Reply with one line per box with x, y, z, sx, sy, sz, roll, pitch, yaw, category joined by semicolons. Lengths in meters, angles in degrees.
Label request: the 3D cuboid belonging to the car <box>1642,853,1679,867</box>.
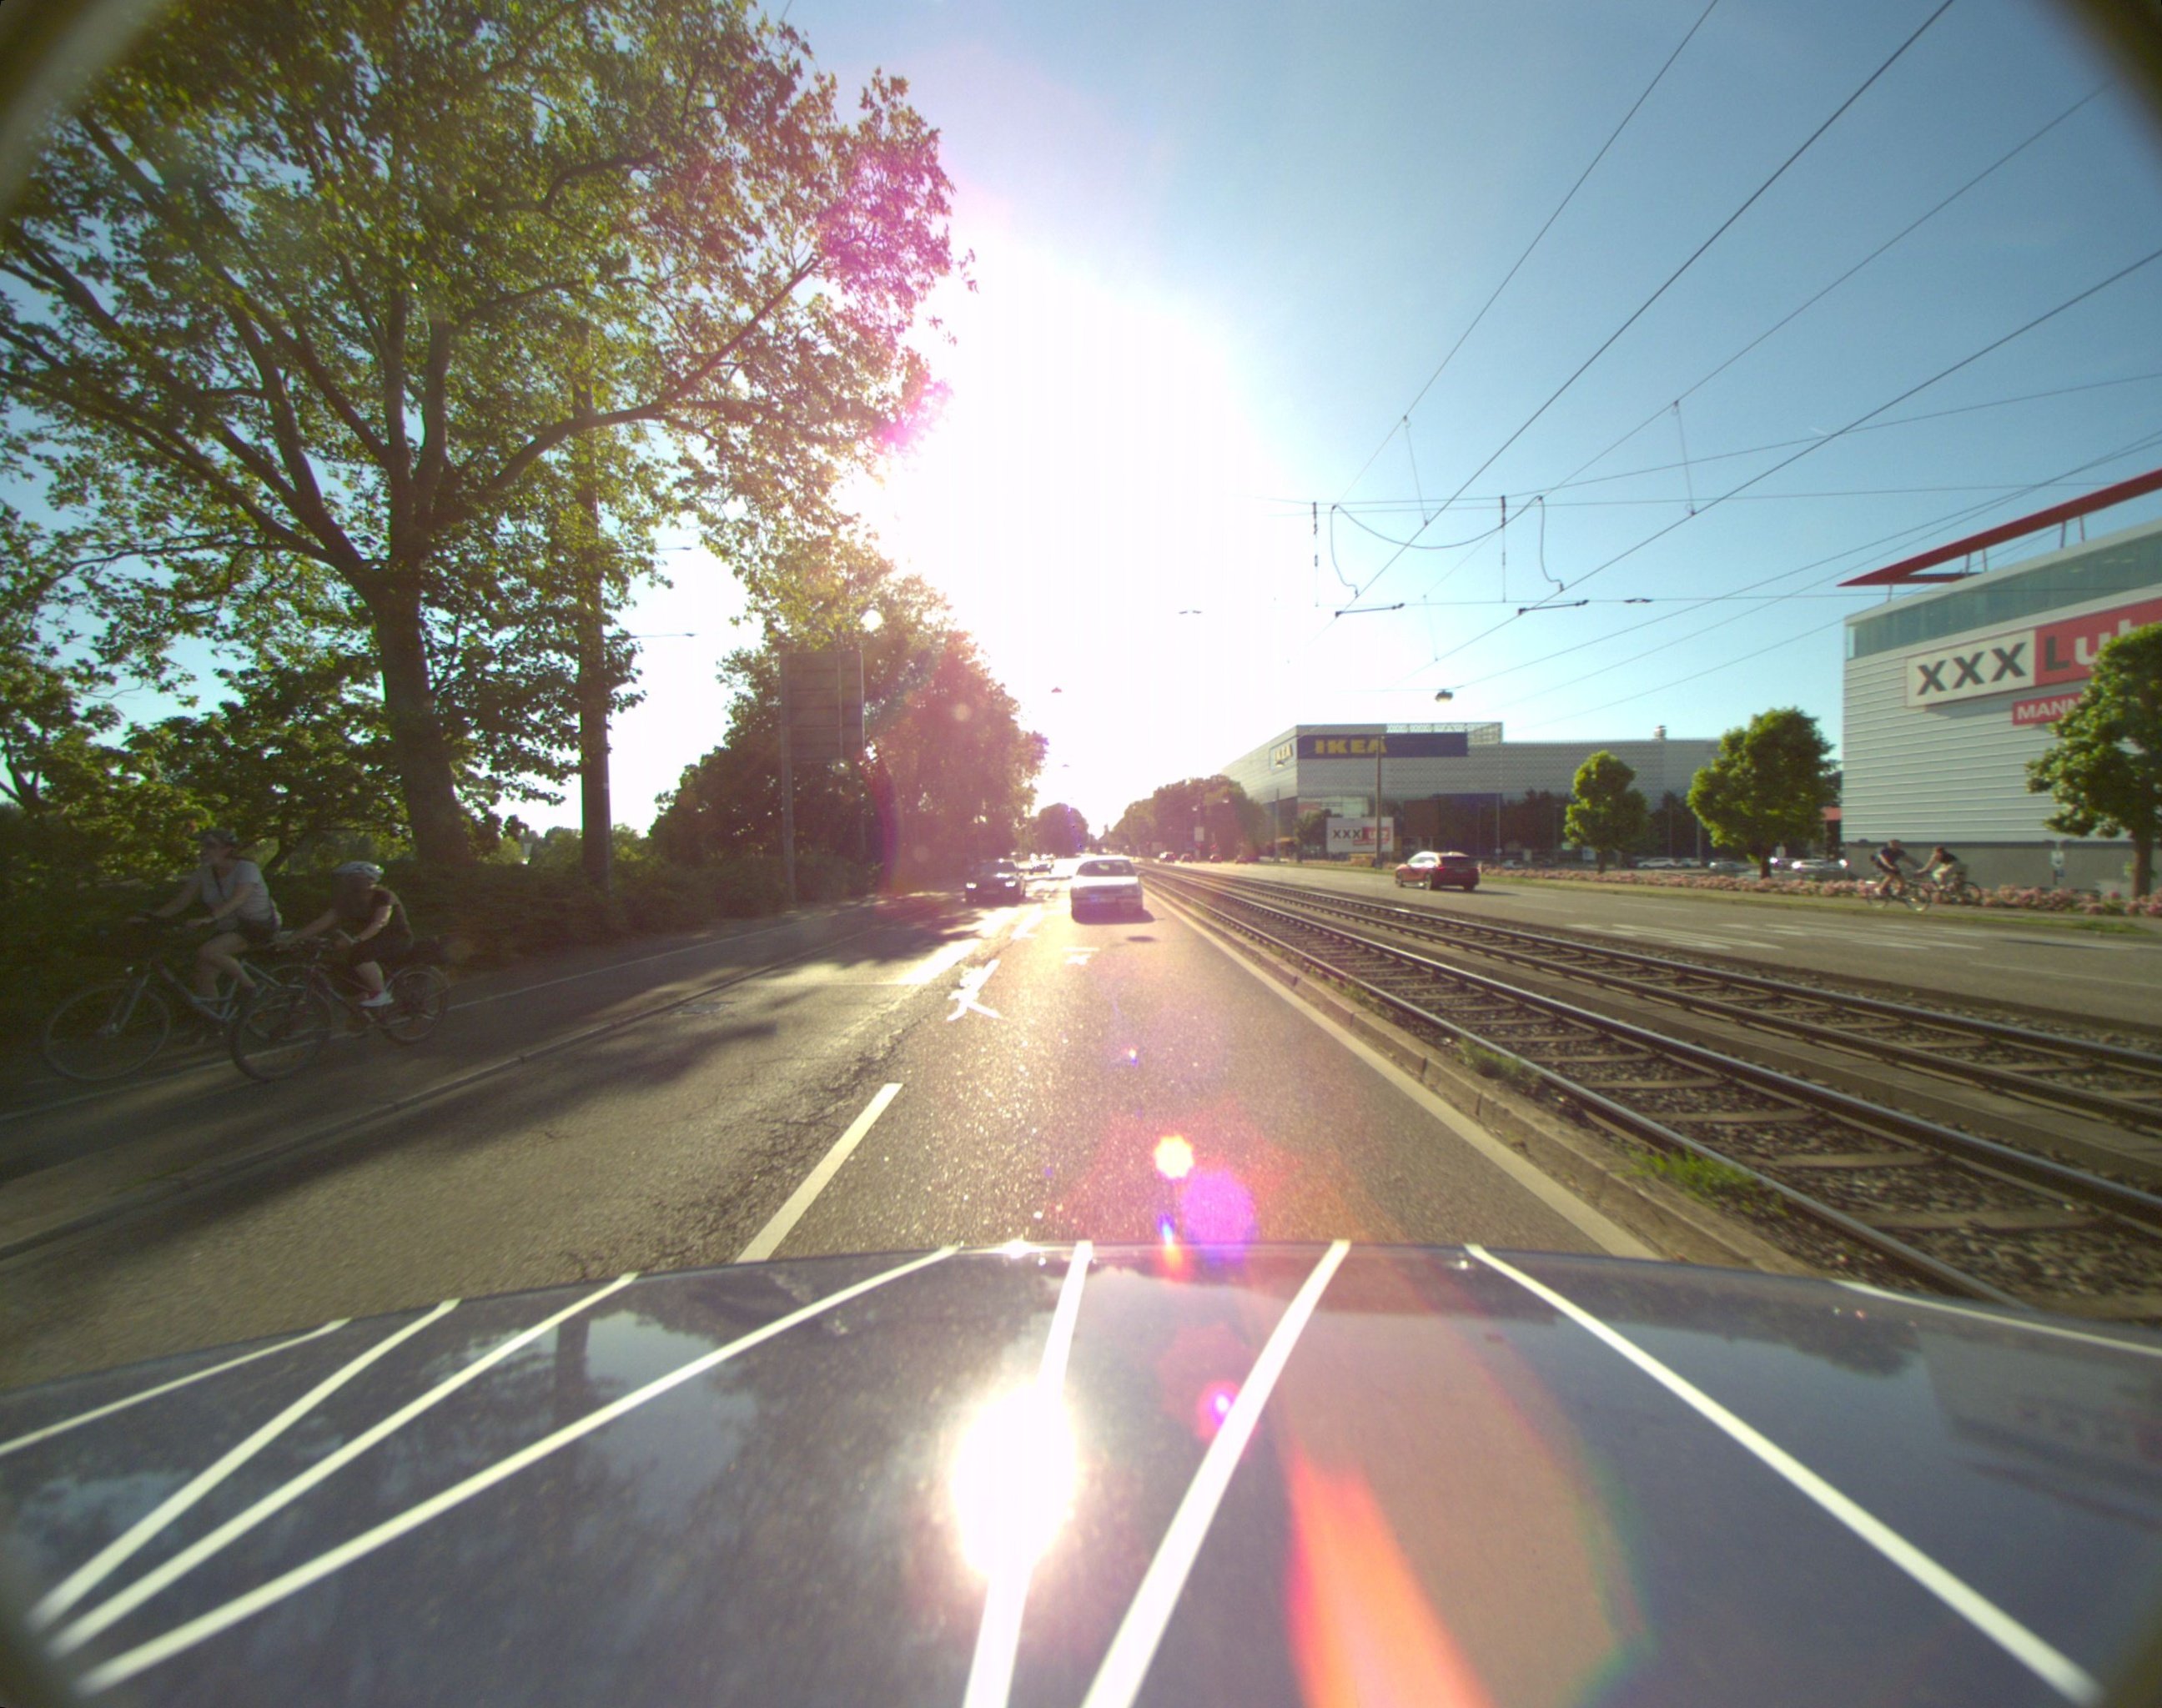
86.738;0.933;113.759;4.219;1.789;1.830;-3;1;31;car

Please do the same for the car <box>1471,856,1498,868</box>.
64.798;1.312;122.054;1.935;1.734;3.999;-3;0;-3;car

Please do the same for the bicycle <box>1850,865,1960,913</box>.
20.703;0.842;19.153;0.706;1.067;2.028;-3;0;7;bicycle

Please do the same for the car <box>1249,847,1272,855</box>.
36.150;-0.628;153.268;4.252;1.489;2.016;2;1;5;car

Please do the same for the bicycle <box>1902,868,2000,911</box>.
22.916;0.907;20.052;0.626;1.052;1.703;0;0;0;bicycle

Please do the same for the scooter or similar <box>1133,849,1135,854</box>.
14.850;-0.751;213.168;0.665;1.227;1.372;-1;1;0;scooter or similar

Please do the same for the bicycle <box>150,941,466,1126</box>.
-5.737;1.269;5.823;0.566;0.968;1.788;0;1;0;bicycle

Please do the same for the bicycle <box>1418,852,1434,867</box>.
28.884;0.441;63.574;0.662;1.144;2.023;-3;0;10;bicycle

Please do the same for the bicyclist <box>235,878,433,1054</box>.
-5.721;0.816;5.878;0.642;1.219;0.890;1;1;0;bicyclist

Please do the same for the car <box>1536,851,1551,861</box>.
84.380;0.410;138.592;1.904;1.559;4.254;-3;0;25;car

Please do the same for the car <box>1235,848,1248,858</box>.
25.958;-0.183;122.832;1.823;1.633;4.005;1;0;15;car

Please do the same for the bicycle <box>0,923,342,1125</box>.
-6.892;1.191;5.838;0.623;1.114;1.812;0;1;0;bicycle

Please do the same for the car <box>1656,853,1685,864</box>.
94.077;0.716;121.293;1.727;1.646;4.000;-1;0;1;car

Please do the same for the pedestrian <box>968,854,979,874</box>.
-7.816;0.713;55.403;0.725;1.472;0.722;0;1;0;pedestrian

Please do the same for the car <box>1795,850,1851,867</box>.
77.949;0.468;79.924;1.926;1.692;3.999;-3;0;0;car

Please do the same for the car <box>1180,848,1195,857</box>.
17.584;-0.254;125.629;1.861;1.452;4.137;-1;0;-1;car

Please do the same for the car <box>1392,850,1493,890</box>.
15.176;0.604;32.250;2.044;1.495;4.886;-1;1;1;car

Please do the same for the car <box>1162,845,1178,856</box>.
13.892;-0.491;119.018;1.998;1.646;4.658;1;0;1;car

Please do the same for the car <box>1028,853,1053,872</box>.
-3.249;0.640;61.965;1.857;1.415;3.979;-2;0;-1;car

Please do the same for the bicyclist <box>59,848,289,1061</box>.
-6.881;0.711;5.821;0.687;1.500;0.890;1;1;0;bicyclist

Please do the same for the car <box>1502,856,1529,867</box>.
69.805;1.161;122.137;1.935;1.583;3.999;-3;0;-3;car

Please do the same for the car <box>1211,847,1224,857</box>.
22.148;-0.300;123.695;1.938;1.468;4.134;2;1;9;car

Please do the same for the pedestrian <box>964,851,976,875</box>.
-7.855;0.621;53.587;0.724;1.698;0.813;0;1;0;pedestrian

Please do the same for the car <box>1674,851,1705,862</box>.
96.744;0.337;120.863;1.800;1.646;4.000;-1;0;1;car

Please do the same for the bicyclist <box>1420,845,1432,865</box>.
28.884;0.089;63.681;0.662;1.614;0.801;-3;1;10;bicyclist

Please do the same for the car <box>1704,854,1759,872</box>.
69.204;0.947;80.889;1.926;1.692;4.448;-3;0;0;car

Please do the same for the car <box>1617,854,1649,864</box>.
87.571;0.804;120.649;1.672;1.543;4.438;-3;0;-4;car

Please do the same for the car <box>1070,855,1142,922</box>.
0.606;0.789;19.132;1.602;1.440;3.799;-1;1;1;car

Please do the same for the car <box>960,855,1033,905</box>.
-2.862;0.824;26.610;1.870;1.459;4.586;-2;1;1;car

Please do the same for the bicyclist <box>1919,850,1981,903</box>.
22.915;0.575;20.051;0.626;1.366;0.880;0;1;0;bicyclist

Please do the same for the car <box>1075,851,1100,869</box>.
0.582;0.501;64.305;1.871;1.422;3.831;-3;0;2;car

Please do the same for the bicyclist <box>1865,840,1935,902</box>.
20.687;0.425;19.218;0.706;1.503;0.971;-3;1;7;bicyclist

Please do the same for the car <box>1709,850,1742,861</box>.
101.836;0.202;120.114;1.998;1.646;4.000;-1;0;1;car
